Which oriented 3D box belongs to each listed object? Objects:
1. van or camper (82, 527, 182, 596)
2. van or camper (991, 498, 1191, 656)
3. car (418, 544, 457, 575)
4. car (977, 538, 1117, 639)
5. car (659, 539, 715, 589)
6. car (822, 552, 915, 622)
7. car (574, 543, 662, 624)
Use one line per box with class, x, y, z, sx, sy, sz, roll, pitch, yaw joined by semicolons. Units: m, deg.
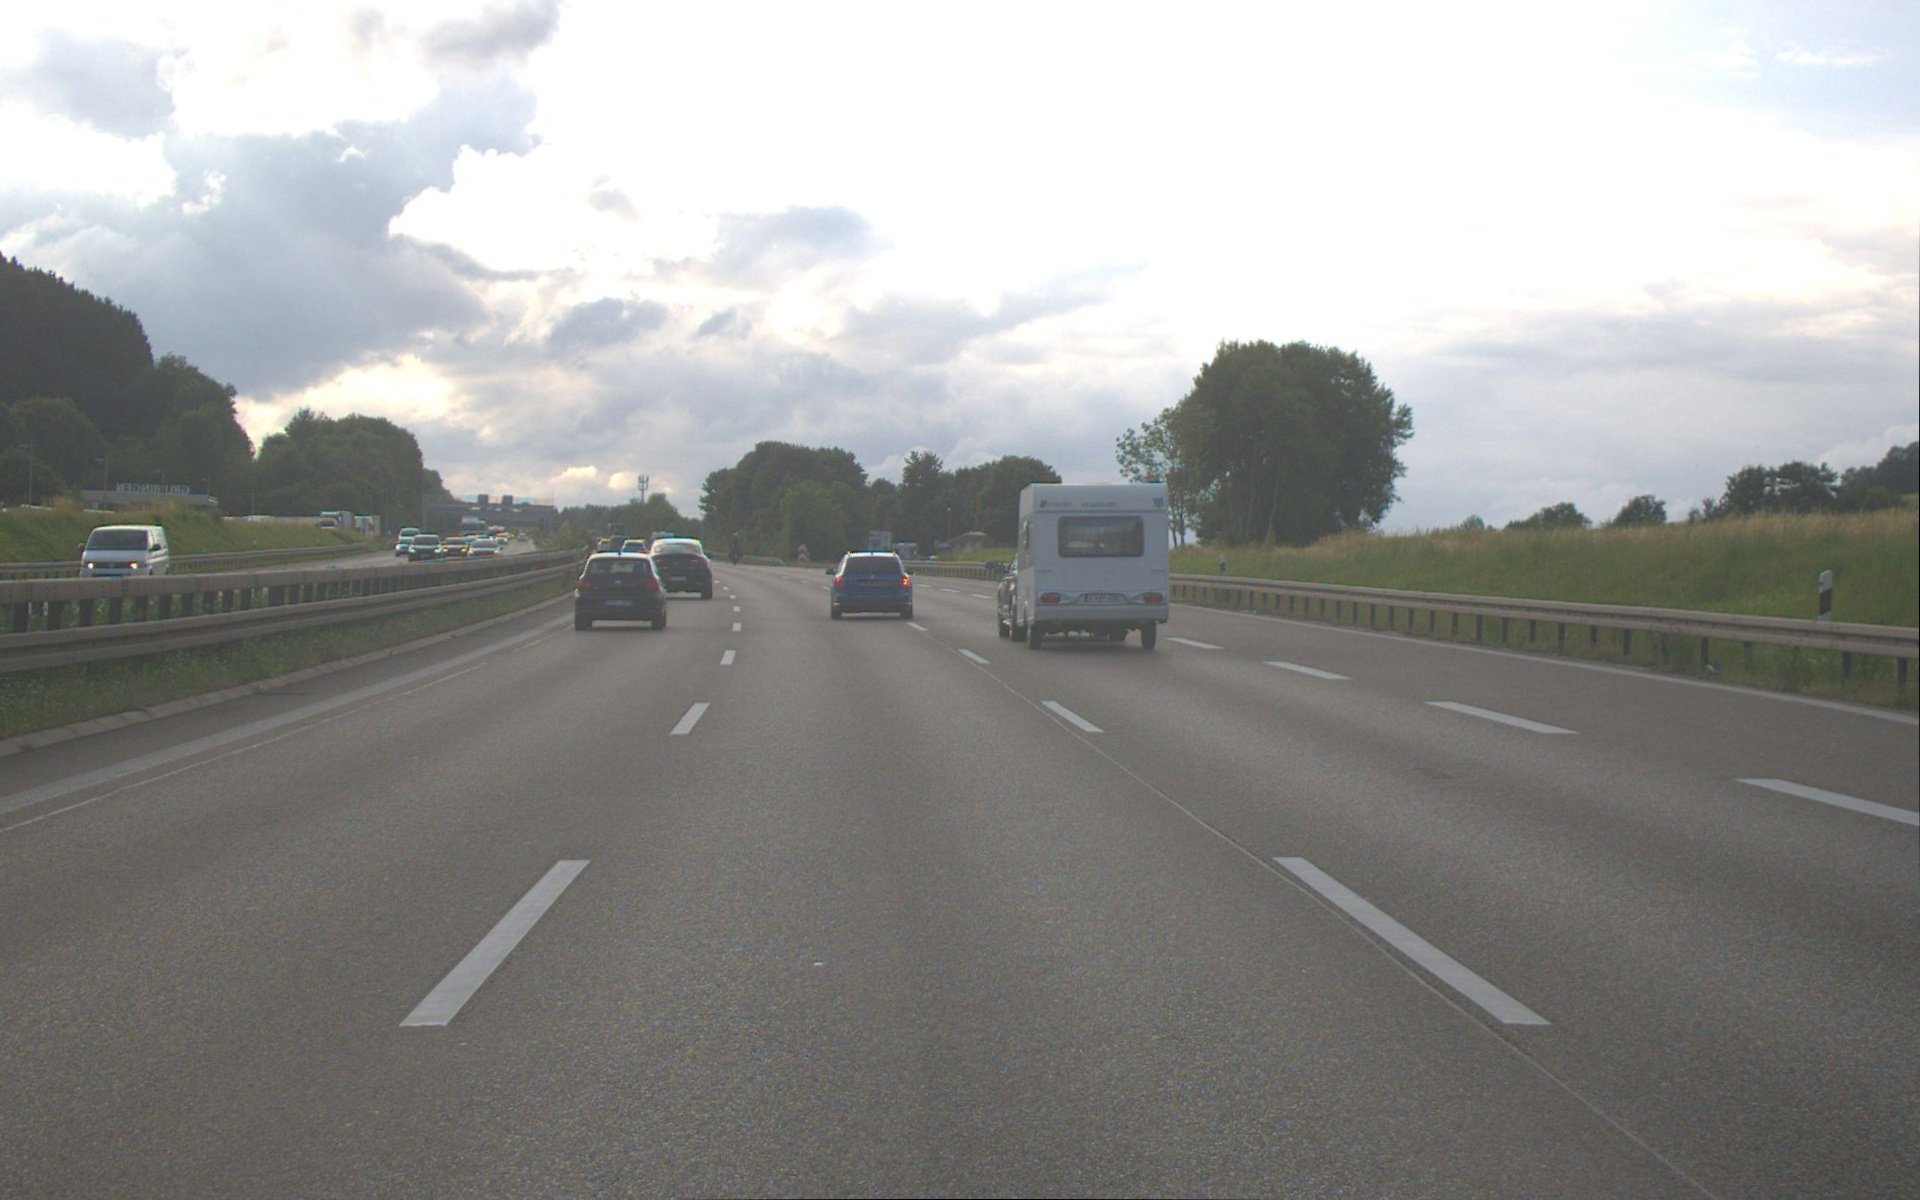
van or camper;-23.183;-1.090;96.381;1.915;1.867;4.755;0;1;-3
van or camper;2.003;-0.305;54.585;2.547;2.232;5.329;1;-2;-4
car;-29.659;-2.289;195.161;1.807;1.608;4.341;1;0;-4
car;1.464;-0.229;59.504;1.786;1.647;4.482;1;1;-7
car;-7.833;-1.047;98.825;1.565;1.375;4.001;0;1;-4
car;-1.999;-0.289;74.245;1.766;1.428;4.001;-1;0;-5
car;-6.461;-0.333;65.206;1.538;1.343;3.678;1;3;-4
